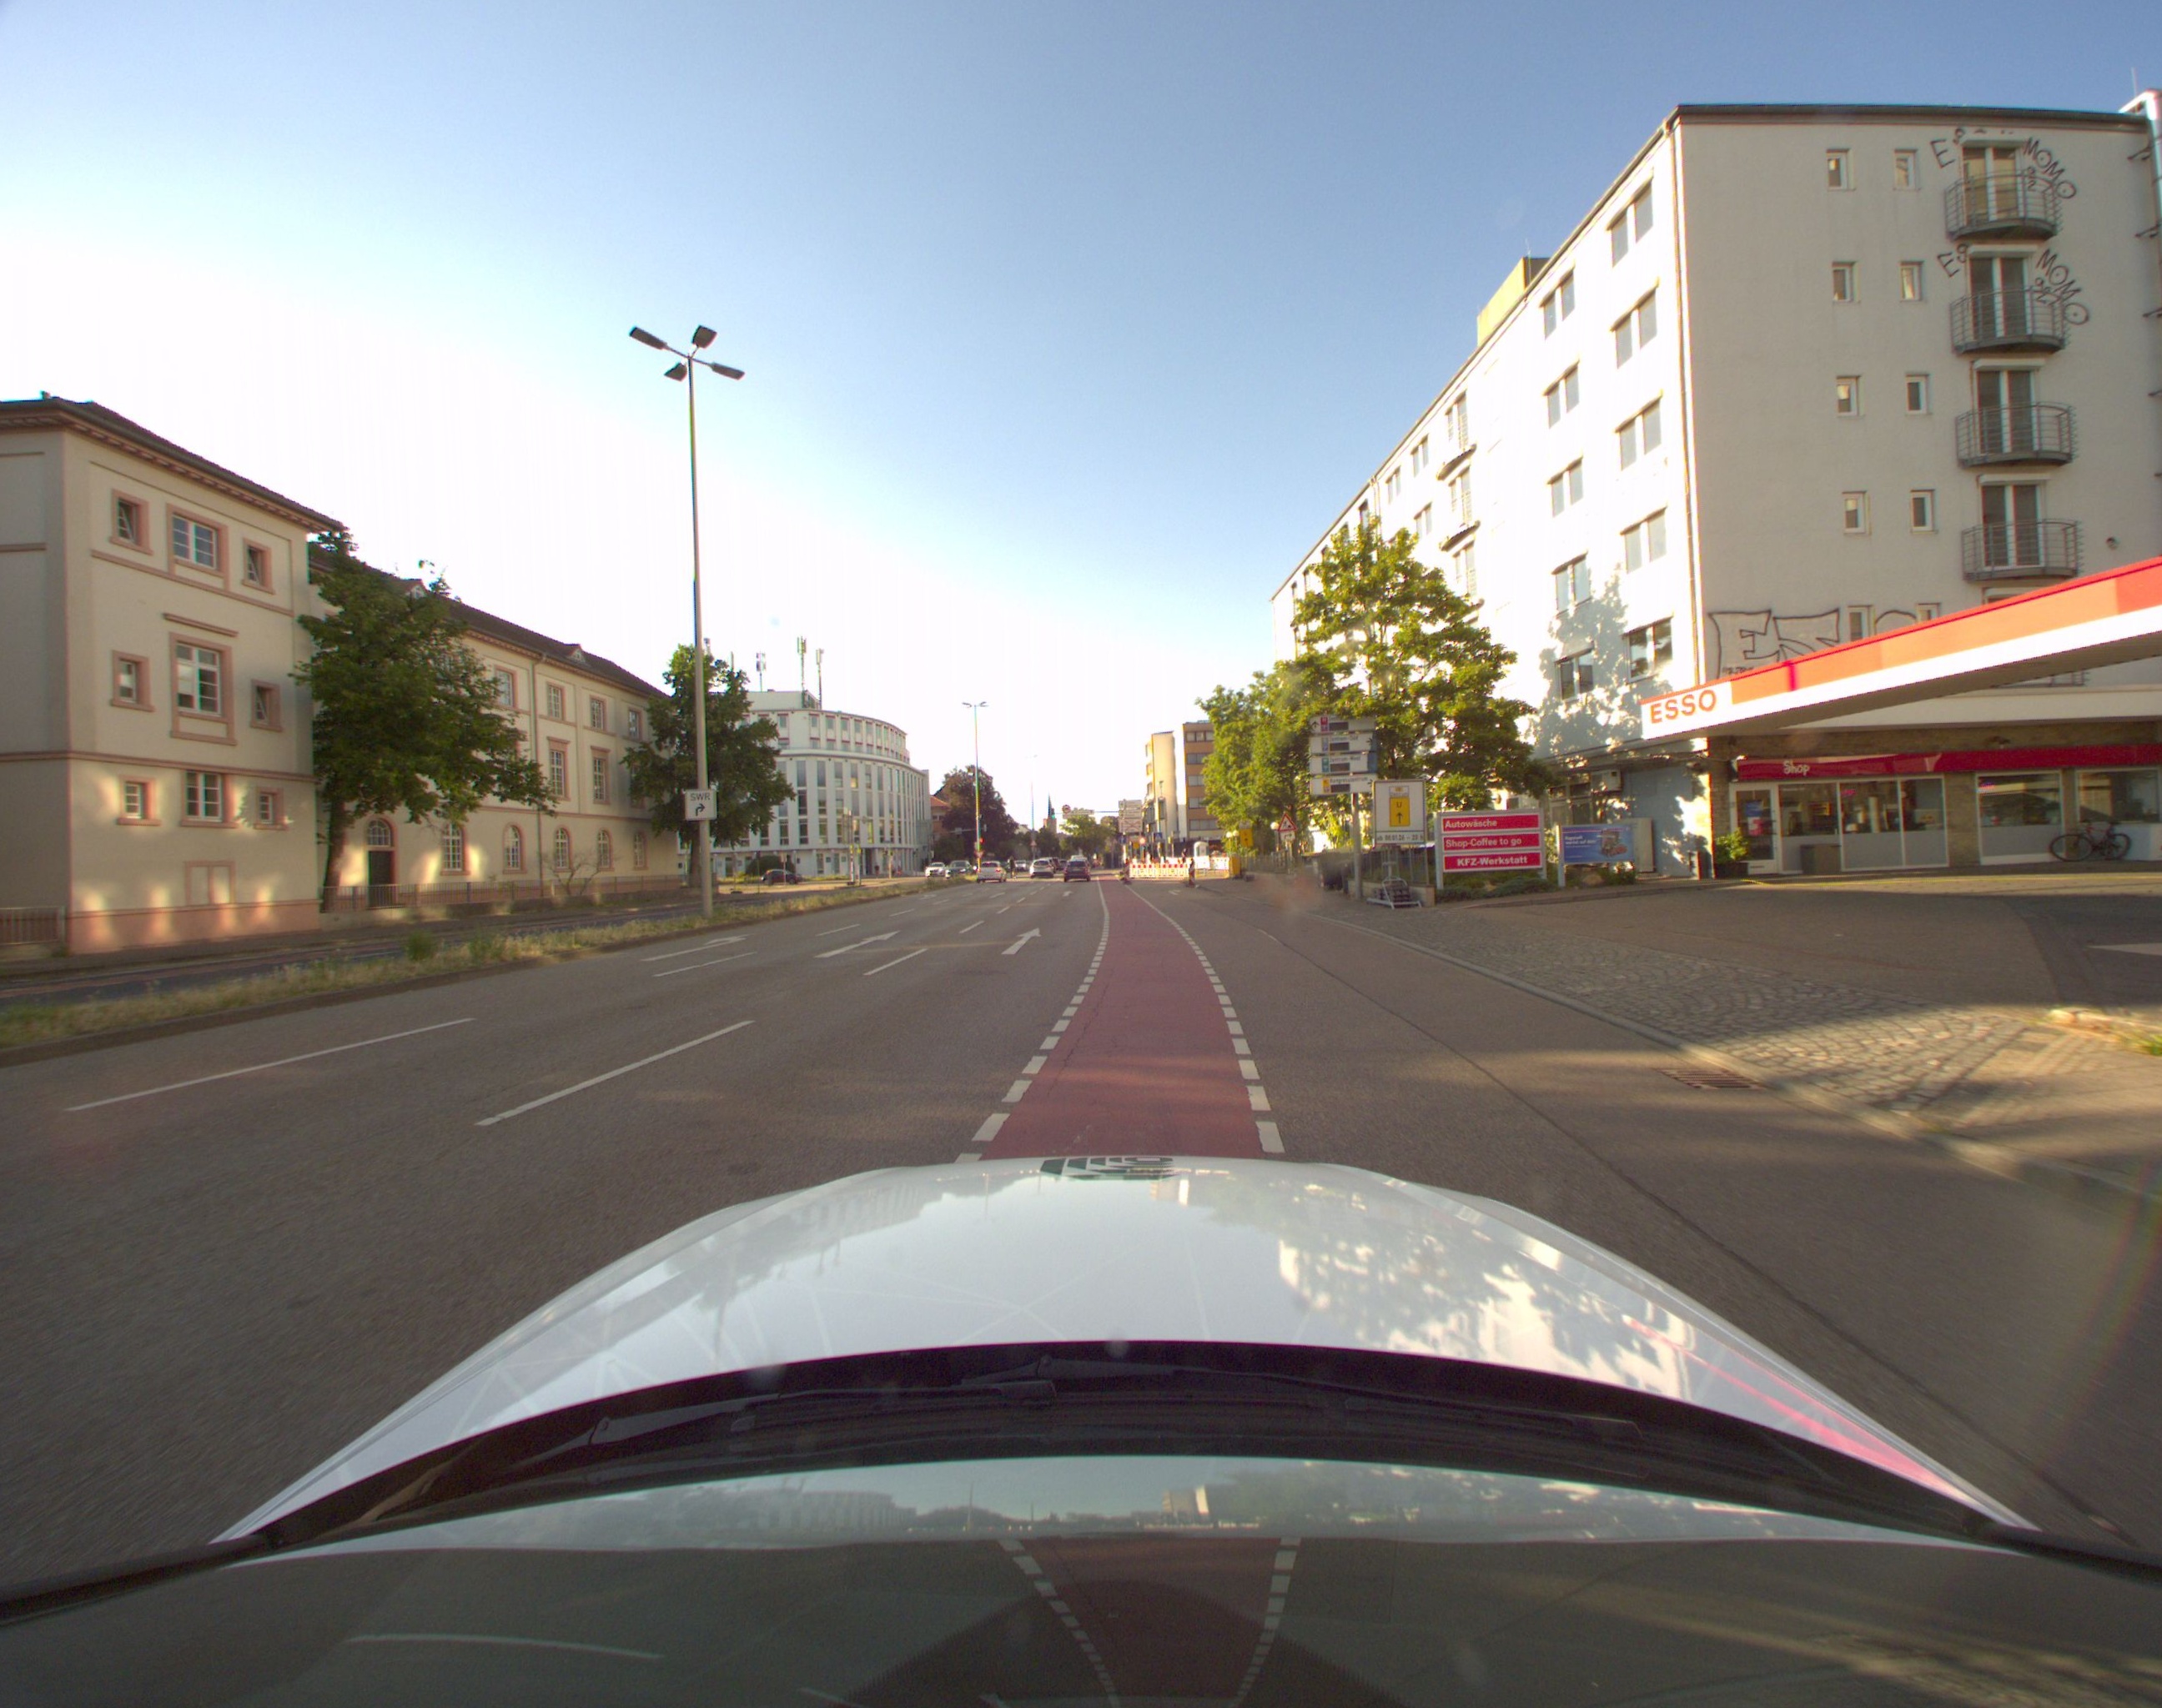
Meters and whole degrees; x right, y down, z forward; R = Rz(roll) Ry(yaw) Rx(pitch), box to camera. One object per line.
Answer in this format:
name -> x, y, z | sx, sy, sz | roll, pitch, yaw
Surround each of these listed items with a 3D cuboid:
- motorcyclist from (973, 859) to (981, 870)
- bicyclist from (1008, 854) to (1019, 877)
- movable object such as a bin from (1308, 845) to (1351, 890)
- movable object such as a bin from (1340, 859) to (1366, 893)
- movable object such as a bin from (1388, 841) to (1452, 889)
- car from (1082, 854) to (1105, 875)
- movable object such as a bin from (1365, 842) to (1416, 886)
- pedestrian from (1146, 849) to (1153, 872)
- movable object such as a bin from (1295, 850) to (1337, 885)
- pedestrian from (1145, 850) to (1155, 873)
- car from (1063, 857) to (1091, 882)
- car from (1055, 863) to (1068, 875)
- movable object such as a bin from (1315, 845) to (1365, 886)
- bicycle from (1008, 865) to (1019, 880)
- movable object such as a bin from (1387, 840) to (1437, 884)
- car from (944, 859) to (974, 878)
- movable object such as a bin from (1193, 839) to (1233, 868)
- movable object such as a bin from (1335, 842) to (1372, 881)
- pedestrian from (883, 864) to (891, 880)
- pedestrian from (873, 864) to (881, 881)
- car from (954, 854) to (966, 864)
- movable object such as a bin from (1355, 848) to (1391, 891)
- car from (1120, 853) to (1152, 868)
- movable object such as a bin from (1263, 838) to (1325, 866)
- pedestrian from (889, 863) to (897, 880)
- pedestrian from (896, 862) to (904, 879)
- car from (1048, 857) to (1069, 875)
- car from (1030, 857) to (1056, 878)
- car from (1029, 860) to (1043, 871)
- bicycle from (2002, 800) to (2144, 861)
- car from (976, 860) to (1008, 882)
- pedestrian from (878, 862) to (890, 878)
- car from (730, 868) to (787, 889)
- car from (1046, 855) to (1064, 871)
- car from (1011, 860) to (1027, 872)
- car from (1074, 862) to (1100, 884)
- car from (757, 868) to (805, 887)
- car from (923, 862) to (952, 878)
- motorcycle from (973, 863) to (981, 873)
motorcyclist -> -13.965, 1.399, 109.357 | 0.768, 1.419, 1.237 | -2, -1, -2
bicyclist -> -5.174, 0.867, 62.534 | 0.689, 1.728, 0.987 | -2, -1, -3
movable object such as a bin -> 8.794, 0.497, 28.858 | 1.089, 1.508, 1.254 | -2, -3, 0
movable object such as a bin -> 8.513, 0.679, 25.506 | 0.616, 1.046, 0.617 | -2, -1, 3
movable object such as a bin -> 10.781, 0.347, 25.930 | 1.603, 1.410, 0.864 | -2, -1, -1
car -> 1.043, 0.887, 68.636 | 1.814, 1.640, 3.999 | -2, 0, -1
movable object such as a bin -> 10.721, 0.329, 28.264 | 1.302, 1.433, 1.281 | -4, 0, 5
pedestrian -> 5.586, 0.524, 66.525 | 0.518, 1.868, 0.615 | -2, -1, 4
movable object such as a bin -> 9.395, 0.543, 32.581 | 1.216, 1.344, 1.050 | -2, -1, -15
pedestrian -> 5.549, 0.580, 65.750 | 0.737, 1.799, 0.716 | -2, -1, 4
car -> -0.250, 0.995, 54.880 | 1.742, 1.564, 4.050 | -2, 0, 1
car -> -2.873, 2.166, 120.688 | 1.658, 1.657, 4.001 | -2, 0, 1
movable object such as a bin -> 9.710, 0.430, 30.583 | 1.326, 1.485, 1.207 | -2, -1, -10
bicycle -> -5.155, 1.403, 62.678 | 0.698, 1.100, 2.256 | -2, -1, -2
movable object such as a bin -> 11.593, 0.269, 28.579 | 1.190, 1.421, 1.280 | -4, 0, 3
car -> -11.032, 1.320, 73.973 | 1.987, 1.578, 4.898 | -2, 0, 0
movable object such as a bin -> 11.884, -0.031, 73.488 | 3.318, 2.383, 1.528 | -2, -1, -1
movable object such as a bin -> 10.924, 0.308, 32.628 | 1.100, 1.485, 0.956 | -2, -1, -1
pedestrian -> -21.706, 2.006, 91.190 | 0.758, 1.842, 0.815 | -2, -1, -10
pedestrian -> -22.761, 2.092, 90.863 | 0.660, 1.859, 0.775 | -2, -1, -12
car -> -19.755, 0.814, 133.011 | 1.839, 1.572, 3.991 | -2, -1, -6
movable object such as a bin -> 9.277, 0.489, 25.912 | 0.775, 1.309, 0.864 | -2, -1, -1
car -> 7.795, 0.946, 115.573 | 4.351, 1.877, 1.999 | -2, -1, -2
movable object such as a bin -> 21.040, -0.186, 80.494 | 5.336, 2.490, 2.546 | -2, -1, -3
pedestrian -> -20.879, 1.939, 90.328 | 0.658, 1.868, 0.778 | -2, -1, -2
pedestrian -> -20.111, 1.800, 90.462 | 0.625, 1.868, 1.126 | -2, -1, -3
car -> -2.100, 1.151, 77.475 | 1.742, 1.564, 4.050 | -2, 0, 1
car -> -2.978, 1.058, 64.531 | 1.742, 1.564, 4.050 | -2, 0, 1
car -> -6.225, 1.593, 112.925 | 1.843, 1.461, 4.046 | -2, 0, -2
bicycle -> 23.685, -0.546, 19.456 | 2.796, 1.314, 0.527 | -3, -1, -2
car -> -6.212, 1.186, 57.407 | 1.678, 1.457, 4.001 | -2, 0, 2
pedestrian -> -25.306, 2.082, 104.561 | 1.085, 2.013, 1.038 | -3, -1, 11
car -> -29.630, 2.239, 74.909 | 4.325, 1.629, 2.002 | -2, -1, 4
car -> -2.855, 1.020, 90.832 | 1.658, 1.657, 4.001 | -2, 0, 1
car -> -8.161, 1.625, 107.270 | 1.843, 1.461, 4.046 | -2, 0, -2
car -> 0.497, 1.474, 63.353 | 1.721, 1.579, 3.726 | -3, 0, 3
car -> -28.505, 2.273, 77.560 | 3.800, 1.530, 1.861 | -4, -2, -3
car -> -14.601, 1.616, 83.053 | 1.986, 1.413, 4.445 | -3, 0, 1
motorcycle -> -13.937, 1.824, 109.187 | 0.768, 1.284, 2.841 | -2, 0, -2
